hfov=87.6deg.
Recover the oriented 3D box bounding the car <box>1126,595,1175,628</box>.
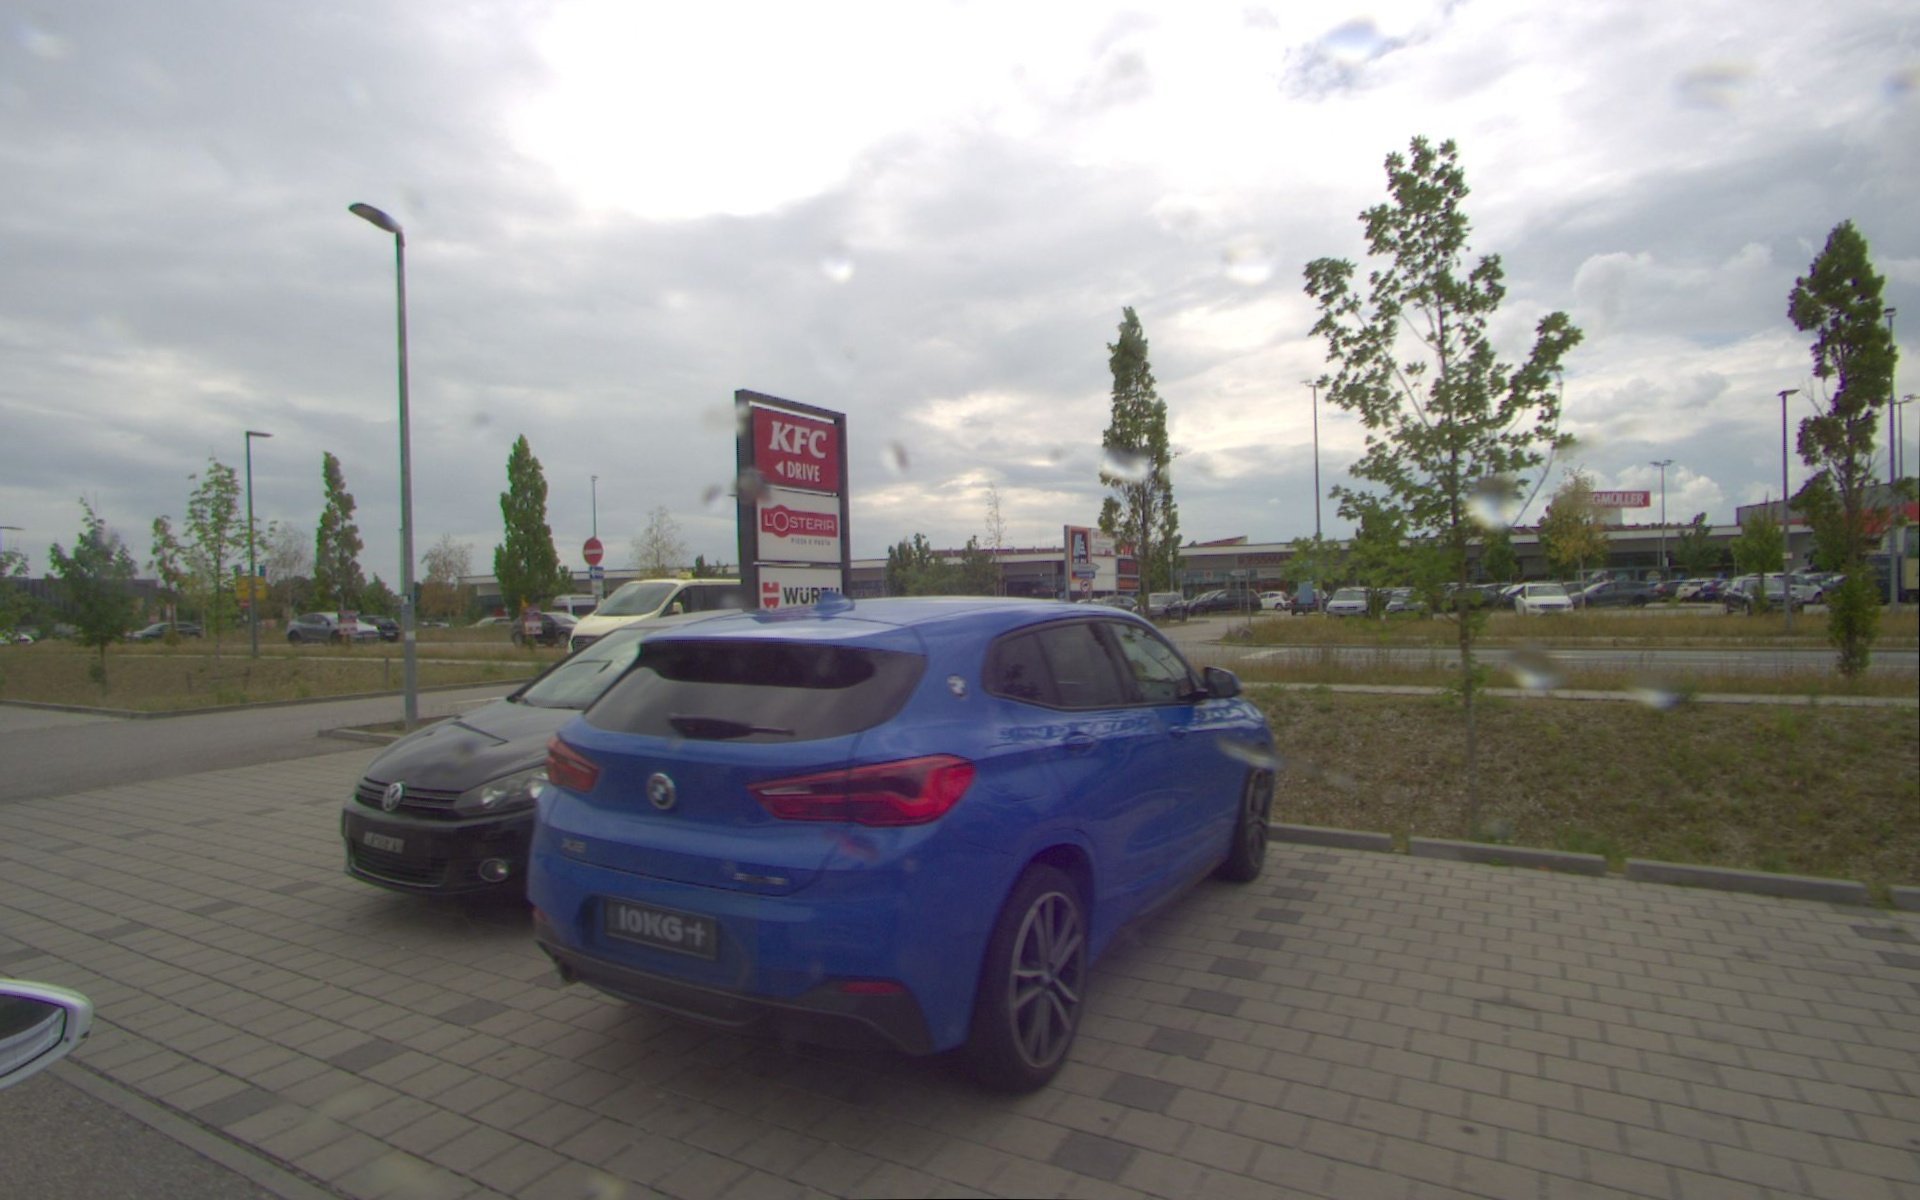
[{"bbox_3d":[9.846,0.554,51.561,1.742,1.560,3.752,-1,1,22],"label":"car"}]

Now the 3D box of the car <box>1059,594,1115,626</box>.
[{"bbox_3d":[6.829,0.525,53.439,1.966,1.560,4.043,-1,1,22],"label":"car"}]

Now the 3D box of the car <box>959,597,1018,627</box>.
[{"bbox_3d":[1.664,0.677,57.012,1.835,1.521,4.058,-1,1,26],"label":"car"}]

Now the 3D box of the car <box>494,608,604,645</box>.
[{"bbox_3d":[-16.487,1.054,40.141,4.152,1.413,1.762,-1,0,27],"label":"car"}]

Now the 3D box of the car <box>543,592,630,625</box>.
[{"bbox_3d":[-26.755,0.598,71.973,2.306,2.150,5.567,-1,1,31],"label":"car"}]

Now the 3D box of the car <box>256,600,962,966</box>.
[{"bbox_3d":[-1.762,0.765,6.349,1.750,1.479,4.054,0,1,30],"label":"car"}]

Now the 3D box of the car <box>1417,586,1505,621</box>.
[{"bbox_3d":[28.321,0.205,56.693,4.110,1.863,1.997,-1,1,15],"label":"car"}]

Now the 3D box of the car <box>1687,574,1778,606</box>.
[{"bbox_3d":[47.483,-0.615,61.653,3.926,1.796,1.997,-1,1,14],"label":"car"}]

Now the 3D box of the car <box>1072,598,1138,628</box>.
[{"bbox_3d":[9.575,0.852,65.987,4.110,1.863,1.997,-1,1,15],"label":"car"}]

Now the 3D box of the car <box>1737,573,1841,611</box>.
[{"bbox_3d":[42.617,-0.400,51.518,3.924,1.796,1.998,-2,1,-9],"label":"car"}]

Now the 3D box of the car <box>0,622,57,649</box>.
[{"bbox_3d":[-52.074,1.957,54.522,4.470,1.413,1.768,-1,0,5],"label":"car"}]

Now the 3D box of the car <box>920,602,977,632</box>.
[{"bbox_3d":[-0.633,0.944,58.311,1.875,1.560,4.043,-1,1,22],"label":"car"}]

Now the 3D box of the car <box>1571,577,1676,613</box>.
[{"bbox_3d":[35.267,-0.284,53.330,4.240,1.796,1.998,-1,1,13],"label":"car"}]

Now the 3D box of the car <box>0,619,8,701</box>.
[{"bbox_3d":[-19.769,1.123,18.654,4.409,1.488,1.749,-1,-1,30],"label":"car"}]

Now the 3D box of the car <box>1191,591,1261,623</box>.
[{"bbox_3d":[16.385,0.402,61.773,4.110,1.863,1.997,-1,1,15],"label":"car"}]

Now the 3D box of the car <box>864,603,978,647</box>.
[{"bbox_3d":[-1.428,0.886,36.234,3.865,1.479,1.651,-1,1,32],"label":"car"}]

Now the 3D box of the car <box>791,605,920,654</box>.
[{"bbox_3d":[-3.468,0.970,33.045,3.943,1.479,1.820,-1,1,32],"label":"car"}]

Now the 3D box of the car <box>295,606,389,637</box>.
[{"bbox_3d":[-29.958,1.036,48.511,4.486,1.413,1.762,-1,0,27],"label":"car"}]

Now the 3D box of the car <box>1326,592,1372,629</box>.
[{"bbox_3d":[17.969,0.448,46.203,1.743,1.560,4.040,-1,1,25],"label":"car"}]

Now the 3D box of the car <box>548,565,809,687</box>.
[{"bbox_3d":[-5.427,0.441,20.136,1.969,2.114,5.207,0,0,29],"label":"car"}]

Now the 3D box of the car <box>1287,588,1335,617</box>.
[{"bbox_3d":[20.713,0.118,58.934,1.970,1.560,4.140,-1,1,29],"label":"car"}]

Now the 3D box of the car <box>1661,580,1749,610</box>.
[{"bbox_3d":[47.965,-0.323,64.540,4.109,1.863,1.997,-1,1,15],"label":"car"}]

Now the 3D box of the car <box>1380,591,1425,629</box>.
[{"bbox_3d":[19.792,0.416,44.728,1.743,1.560,4.040,-1,1,25],"label":"car"}]

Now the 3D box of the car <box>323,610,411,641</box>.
[{"bbox_3d":[-32.013,1.379,54.078,4.349,1.506,1.923,-1,1,25],"label":"car"}]

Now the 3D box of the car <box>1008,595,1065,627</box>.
[{"bbox_3d":[4.244,0.581,54.803,1.966,1.560,4.043,-1,1,22],"label":"car"}]

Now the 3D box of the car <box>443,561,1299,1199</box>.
[{"bbox_3d":[0.156,0.719,4.626,1.837,1.564,4.195,-1,-1,31],"label":"car"}]

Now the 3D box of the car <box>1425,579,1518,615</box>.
[{"bbox_3d":[27.620,-0.177,54.222,4.110,1.863,1.997,-1,1,15],"label":"car"}]

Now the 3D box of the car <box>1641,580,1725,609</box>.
[{"bbox_3d":[48.512,-0.381,67.311,4.110,1.863,1.997,-1,1,15],"label":"car"}]

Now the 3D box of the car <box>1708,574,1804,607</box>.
[{"bbox_3d":[46.727,-0.555,58.851,3.926,1.796,1.997,-1,1,14],"label":"car"}]

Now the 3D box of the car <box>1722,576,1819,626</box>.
[{"bbox_3d":[31.310,-0.001,38.841,1.900,1.796,4.305,-1,1,25],"label":"car"}]

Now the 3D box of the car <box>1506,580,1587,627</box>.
[{"bbox_3d":[24.640,0.108,42.246,1.964,1.796,4.313,-1,1,17],"label":"car"}]

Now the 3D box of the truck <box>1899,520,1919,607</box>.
[{"bbox_3d":[39.453,-1.445,35.774,2.994,3.239,8.361,-3,1,-40],"label":"truck"}]

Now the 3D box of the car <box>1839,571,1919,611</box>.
[{"bbox_3d":[45.079,-0.467,47.903,4.063,1.796,1.998,-1,1,9],"label":"car"}]

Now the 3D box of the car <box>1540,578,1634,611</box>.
[{"bbox_3d":[36.588,-0.326,58.553,4.241,1.796,1.997,-1,1,14],"label":"car"}]
